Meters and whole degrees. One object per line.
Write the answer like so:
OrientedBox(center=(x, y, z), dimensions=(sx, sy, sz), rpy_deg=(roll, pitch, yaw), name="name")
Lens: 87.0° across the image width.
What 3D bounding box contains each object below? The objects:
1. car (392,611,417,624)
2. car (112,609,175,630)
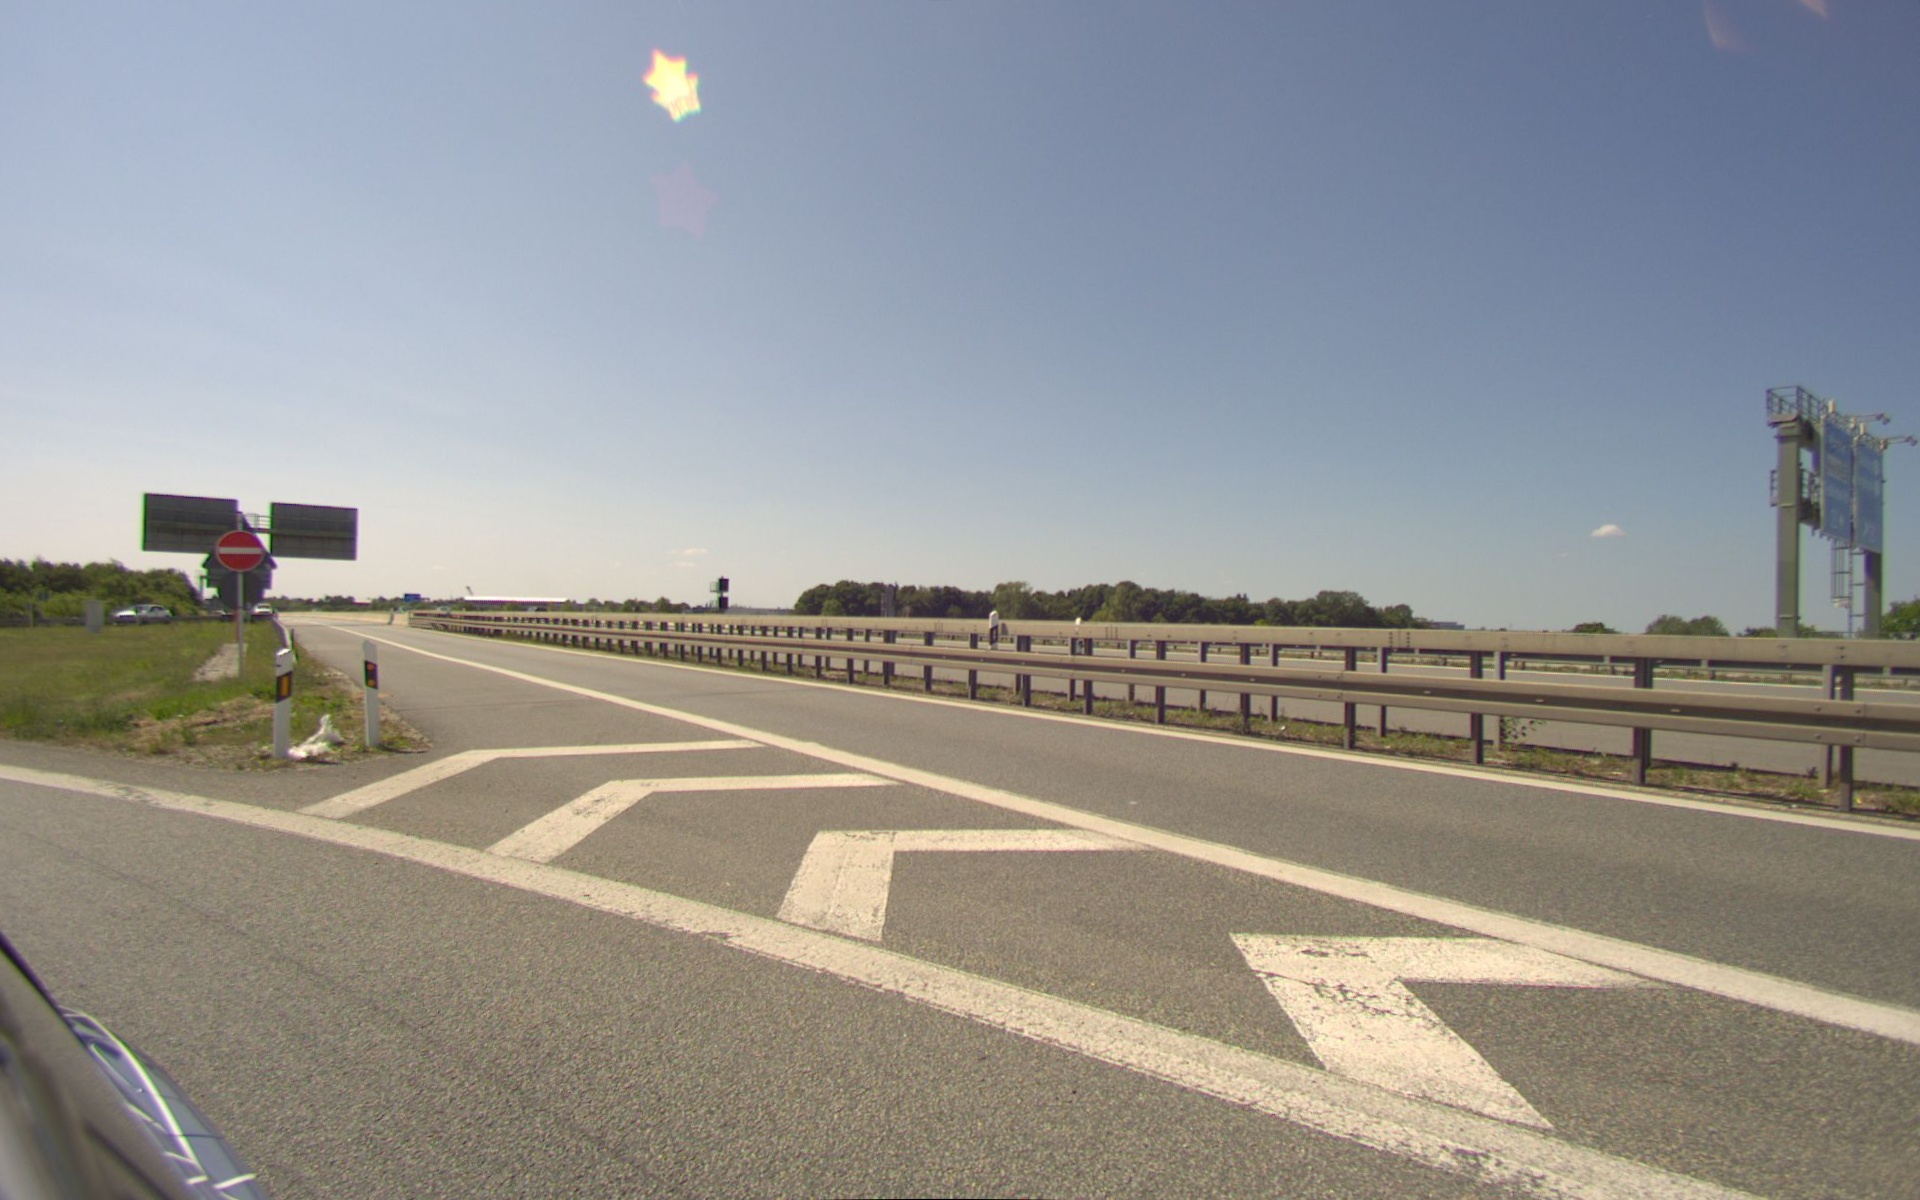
OrientedBox(center=(-63.036, 2.007, 114.810), dimensions=(1.806, 1.443, 4.226), rpy_deg=(1, 0, -38), name="car")
OrientedBox(center=(-65.272, 1.543, 81.015), dimensions=(1.968, 1.519, 4.306), rpy_deg=(-1, 0, -8), name="car")
